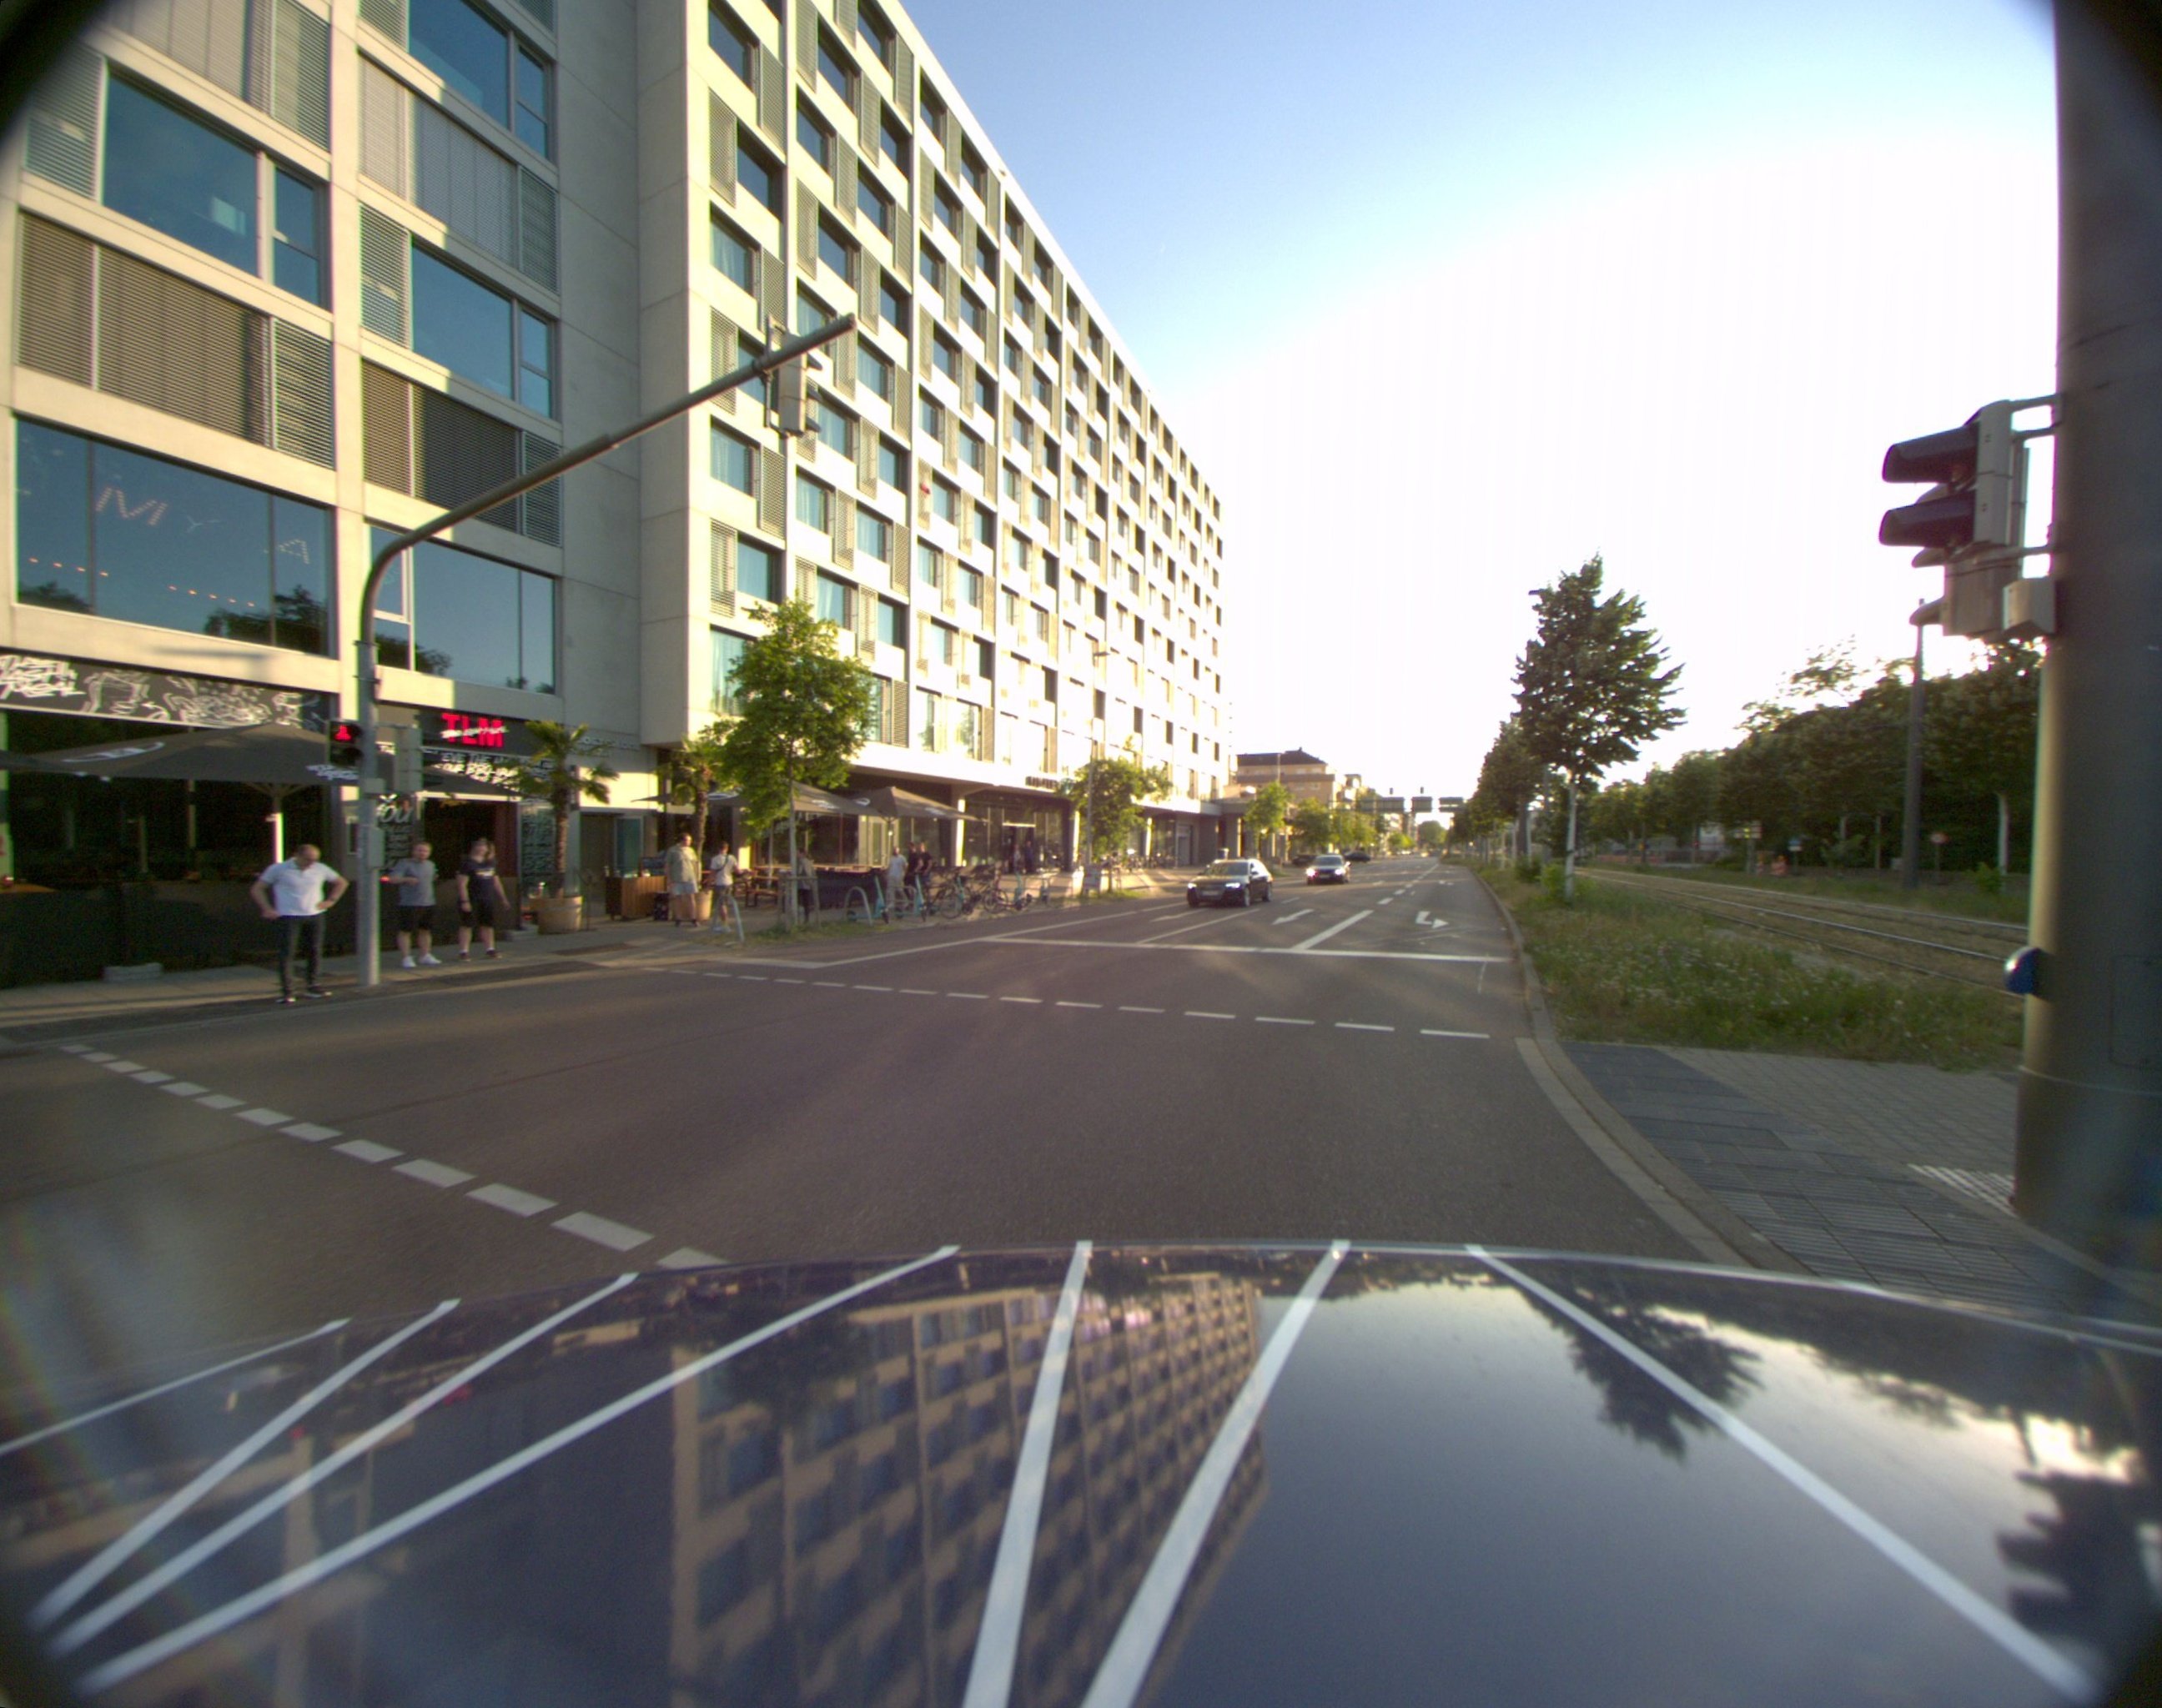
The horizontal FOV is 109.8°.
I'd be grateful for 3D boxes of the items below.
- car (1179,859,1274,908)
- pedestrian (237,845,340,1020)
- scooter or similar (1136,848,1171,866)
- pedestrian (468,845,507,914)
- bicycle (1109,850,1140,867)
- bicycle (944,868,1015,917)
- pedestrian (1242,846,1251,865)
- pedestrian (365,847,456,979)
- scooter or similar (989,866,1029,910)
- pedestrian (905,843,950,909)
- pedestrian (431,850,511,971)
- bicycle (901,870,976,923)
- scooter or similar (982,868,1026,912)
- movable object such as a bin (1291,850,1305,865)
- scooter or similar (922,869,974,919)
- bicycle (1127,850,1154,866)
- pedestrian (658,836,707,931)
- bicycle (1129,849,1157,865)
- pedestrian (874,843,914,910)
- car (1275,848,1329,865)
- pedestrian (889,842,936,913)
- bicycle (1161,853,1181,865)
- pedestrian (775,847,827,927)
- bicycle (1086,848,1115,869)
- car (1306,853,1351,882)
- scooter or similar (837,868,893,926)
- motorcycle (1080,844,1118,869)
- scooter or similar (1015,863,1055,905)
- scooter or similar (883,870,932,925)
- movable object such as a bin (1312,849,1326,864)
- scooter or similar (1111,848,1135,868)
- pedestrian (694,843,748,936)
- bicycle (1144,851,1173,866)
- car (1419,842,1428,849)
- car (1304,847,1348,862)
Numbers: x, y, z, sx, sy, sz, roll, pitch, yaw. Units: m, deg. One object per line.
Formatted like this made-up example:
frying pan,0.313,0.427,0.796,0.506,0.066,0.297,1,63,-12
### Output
car,4.723,0.888,24.248,1.912,1.387,4.284,-1,0,26
pedestrian,-8.875,0.829,8.536,0.772,1.837,0.676,0,2,-45
scooter or similar,5.129,0.195,54.073,2.373,1.176,0.622,3,2,25
pedestrian,-13.956,0.594,17.880,0.451,1.591,0.559,-1,0,28
bicycle,2.771,0.286,48.461,1.886,1.004,0.566,3,2,24
bicycle,-2.788,1.042,20.764,1.847,1.175,0.609,3,2,25
pedestrian,14.646,0.145,67.079,0.576,1.610,0.644,3,2,23
pedestrian,-9.366,0.790,10.622,0.759,1.725,0.688,4,2,26
scooter or similar,-2.180,0.996,22.837,1.128,1.207,0.533,5,5,41
pedestrian,-4.349,0.604,21.605,0.756,1.814,0.942,4,3,35
pedestrian,-9.055,0.807,11.289,0.687,1.693,0.657,3,2,23
bicycle,-3.625,1.060,19.343,1.794,1.187,0.568,3,2,21
scooter or similar,-2.242,1.029,22.015,1.156,1.185,0.510,3,4,28
movable object such as a bin,20.059,0.341,70.203,1.014,1.339,1.162,4,2,21
scooter or similar,-3.474,1.027,19.798,1.210,1.195,0.481,3,2,22
bicycle,3.999,0.231,50.866,1.700,0.980,0.552,3,2,23
pedestrian,-8.225,0.580,15.664,0.828,1.878,0.863,0,4,-32
bicycle,4.143,0.226,50.601,1.700,0.980,0.552,3,2,23
pedestrian,-5.158,0.603,20.987,0.619,1.802,0.778,5,4,35
car,21.804,0.234,74.905,4.672,1.500,1.936,2,2,-14
pedestrian,-4.567,0.628,20.627,0.743,1.839,0.942,5,3,35
bicycle,6.739,0.376,56.988,1.422,0.886,0.458,1,1,25
pedestrian,-6.112,0.700,16.575,0.854,1.694,0.578,2,2,17
bicycle,1.163,0.252,45.814,1.608,1.148,0.612,3,2,13
car,12.827,0.666,39.258,1.860,1.387,4.283,-1,0,22
scooter or similar,-4.941,0.974,17.362,1.052,1.216,0.599,3,2,22
motorcycle,1.083,0.159,44.982,2.114,1.378,0.672,2,1,12
scooter or similar,-1.458,0.940,24.005,0.537,1.212,1.292,0,4,-40
scooter or similar,-4.184,1.032,18.351,1.061,1.216,0.551,4,3,35
movable object such as a bin,21.743,0.204,69.458,1.085,1.294,1.363,3,2,19
scooter or similar,2.604,0.241,46.920,1.268,1.226,0.609,3,2,22
pedestrian,-7.211,0.680,15.227,0.826,1.776,0.579,3,3,24
bicycle,5.674,0.325,55.581,2.017,0.952,0.621,2,2,20
car,87.687,-2.134,194.559,1.724,1.909,4.301,-1,0,22
car,25.897,0.046,80.315,3.992,1.409,1.748,2,2,-12
